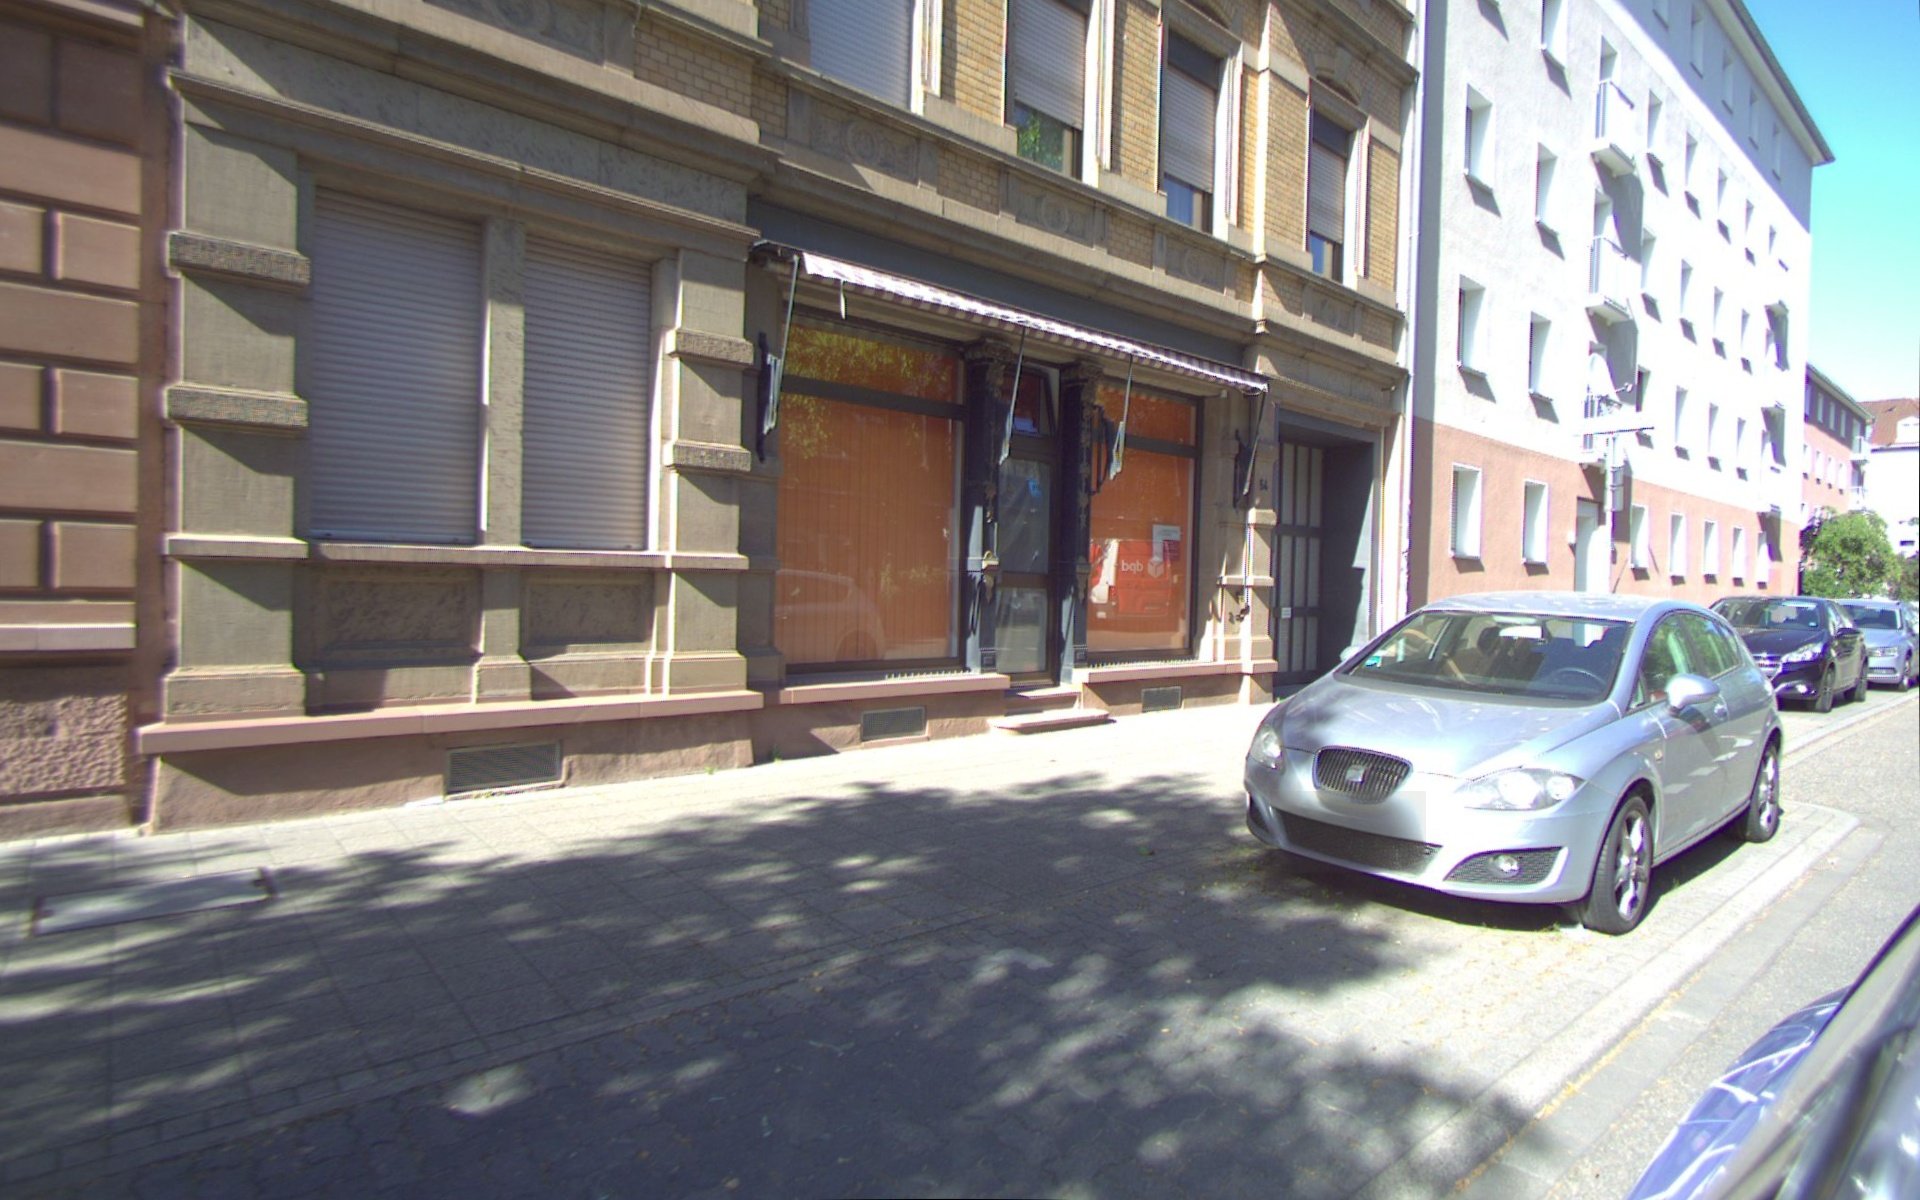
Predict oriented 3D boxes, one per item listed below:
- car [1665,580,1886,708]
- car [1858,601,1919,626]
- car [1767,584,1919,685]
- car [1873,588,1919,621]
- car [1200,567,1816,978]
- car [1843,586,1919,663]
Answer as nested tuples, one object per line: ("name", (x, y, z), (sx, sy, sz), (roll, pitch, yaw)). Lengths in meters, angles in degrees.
("car", (11.287, 0.510, 13.932), (3.645, 1.498, 1.712), (0, 2, -41))
("car", (58.917, 0.850, 63.526), (1.540, 1.419, 3.647), (0, 2, -40))
("car", (15.812, 0.519, 17.591), (4.434, 1.478, 1.791), (0, 3, -38))
("car", (63.352, 0.333, 66.564), (1.967, 2.038, 4.747), (0, 2, -44))
("car", (3.239, 0.604, 5.624), (3.930, 1.469, 1.742), (0, 2, -41))
("car", (20.759, 0.504, 22.079), (3.729, 1.504, 1.735), (0, 3, -42))
